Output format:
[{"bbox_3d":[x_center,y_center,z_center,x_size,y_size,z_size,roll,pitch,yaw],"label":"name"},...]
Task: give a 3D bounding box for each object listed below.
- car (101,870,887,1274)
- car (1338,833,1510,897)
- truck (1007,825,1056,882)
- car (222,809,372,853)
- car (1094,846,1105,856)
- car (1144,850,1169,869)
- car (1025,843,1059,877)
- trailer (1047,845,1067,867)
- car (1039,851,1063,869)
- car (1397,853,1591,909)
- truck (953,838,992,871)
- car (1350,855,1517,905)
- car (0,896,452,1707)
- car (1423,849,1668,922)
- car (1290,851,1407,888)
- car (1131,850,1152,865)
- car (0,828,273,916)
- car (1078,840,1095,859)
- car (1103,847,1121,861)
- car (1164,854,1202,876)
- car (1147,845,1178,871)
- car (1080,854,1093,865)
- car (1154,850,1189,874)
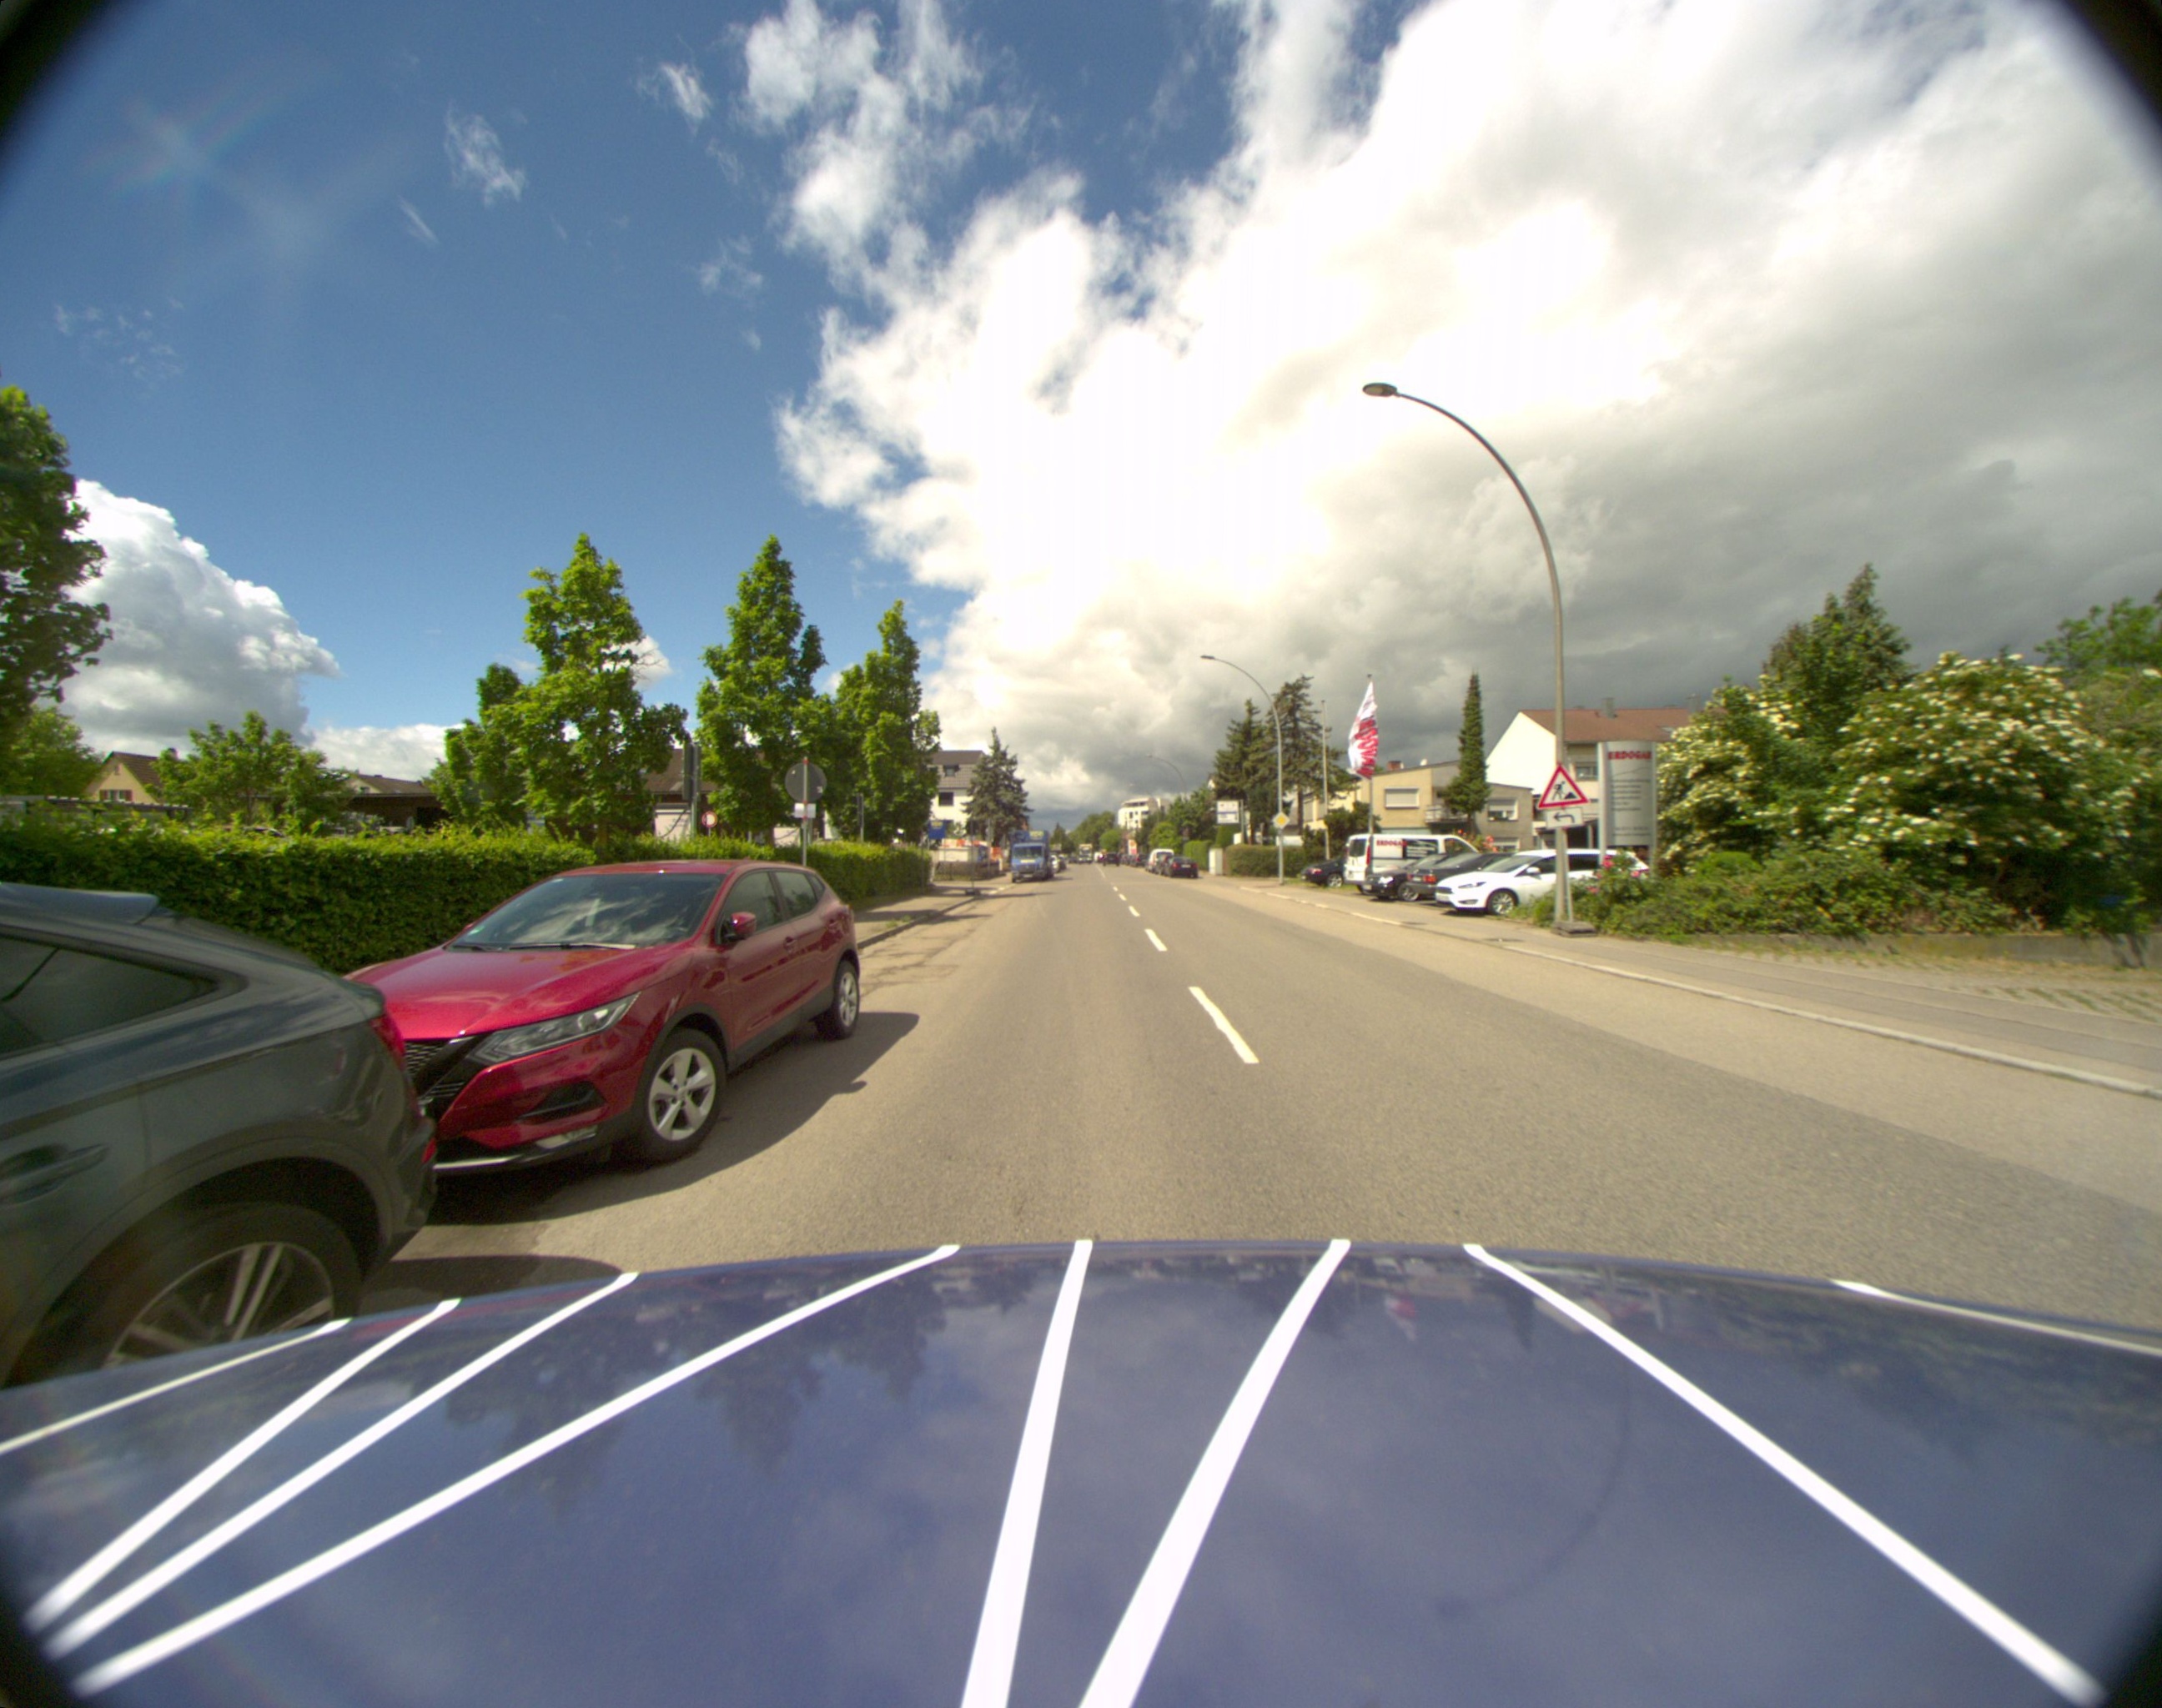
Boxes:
[{"bbox_3d":[-3.008,0.944,5.357,1.946,1.562,4.446,0,0,3],"label":"car"},{"bbox_3d":[11.095,0.340,24.824,4.664,1.960,2.115,-1,0,-3],"label":"car"},{"bbox_3d":[-2.860,-0.035,45.423,2.326,3.079,6.042,-3,0,1],"label":"truck"},{"bbox_3d":[-31.652,-0.871,30.846,1.750,1.575,4.001,-3,0,3],"label":"car"},{"bbox_3d":[3.047,-0.511,127.433,1.748,1.618,4.356,-2,0,0],"label":"car"},{"bbox_3d":[6.398,0.460,64.436,1.644,1.478,4.000,2,0,-1],"label":"car"},{"bbox_3d":[-2.631,0.377,51.963,1.878,2.156,4.464,-3,0,1],"label":"car"},{"bbox_3d":[-2.368,0.222,75.357,1.777,2.132,4.114,-1,0,0],"label":"trailer"},{"bbox_3d":[-2.484,0.509,63.921,1.777,1.499,4.000,0,0,0],"label":"car"},{"bbox_3d":[10.582,0.676,19.711,3.996,1.347,1.872,-1,0,3],"label":"car"},{"bbox_3d":[-7.276,0.103,51.646,1.834,2.069,5.386,2,-1,0],"label":"truck"},{"bbox_3d":[10.122,0.716,22.043,3.997,1.307,1.871,-1,1,-1],"label":"car"},{"bbox_3d":[-2.970,0.921,0.214,1.947,1.562,4.445,0,0,-1],"label":"car"},{"bbox_3d":[10.322,0.667,17.150,4.385,1.470,1.871,-1,2,1],"label":"car"},{"bbox_3d":[10.656,0.599,30.453,3.997,1.197,1.871,-3,0,-1],"label":"car"},{"bbox_3d":[6.301,0.376,79.445,1.724,1.484,4.735,0,0,-1],"label":"car"},{"bbox_3d":[-21.808,0.402,17.559,3.997,1.696,2.000,-3,0,-1],"label":"car"},{"bbox_3d":[1.101,-0.844,156.459,3.263,3.595,10.269,-2,-1,-1],"label":"car"},{"bbox_3d":[3.673,0.027,91.542,1.999,1.606,4.411,0,0,0],"label":"car"},{"bbox_3d":[6.319,0.665,47.530,1.635,1.296,4.116,2,0,-2],"label":"car"},{"bbox_3d":[6.178,0.288,57.899,1.748,1.827,4.355,2,0,-1],"label":"car"},{"bbox_3d":[0.890,0.839,122.621,1.892,1.708,3.998,0,0,-3],"label":"car"},{"bbox_3d":[6.180,0.530,52.306,1.748,1.463,4.643,2,0,-1],"label":"car"}]
